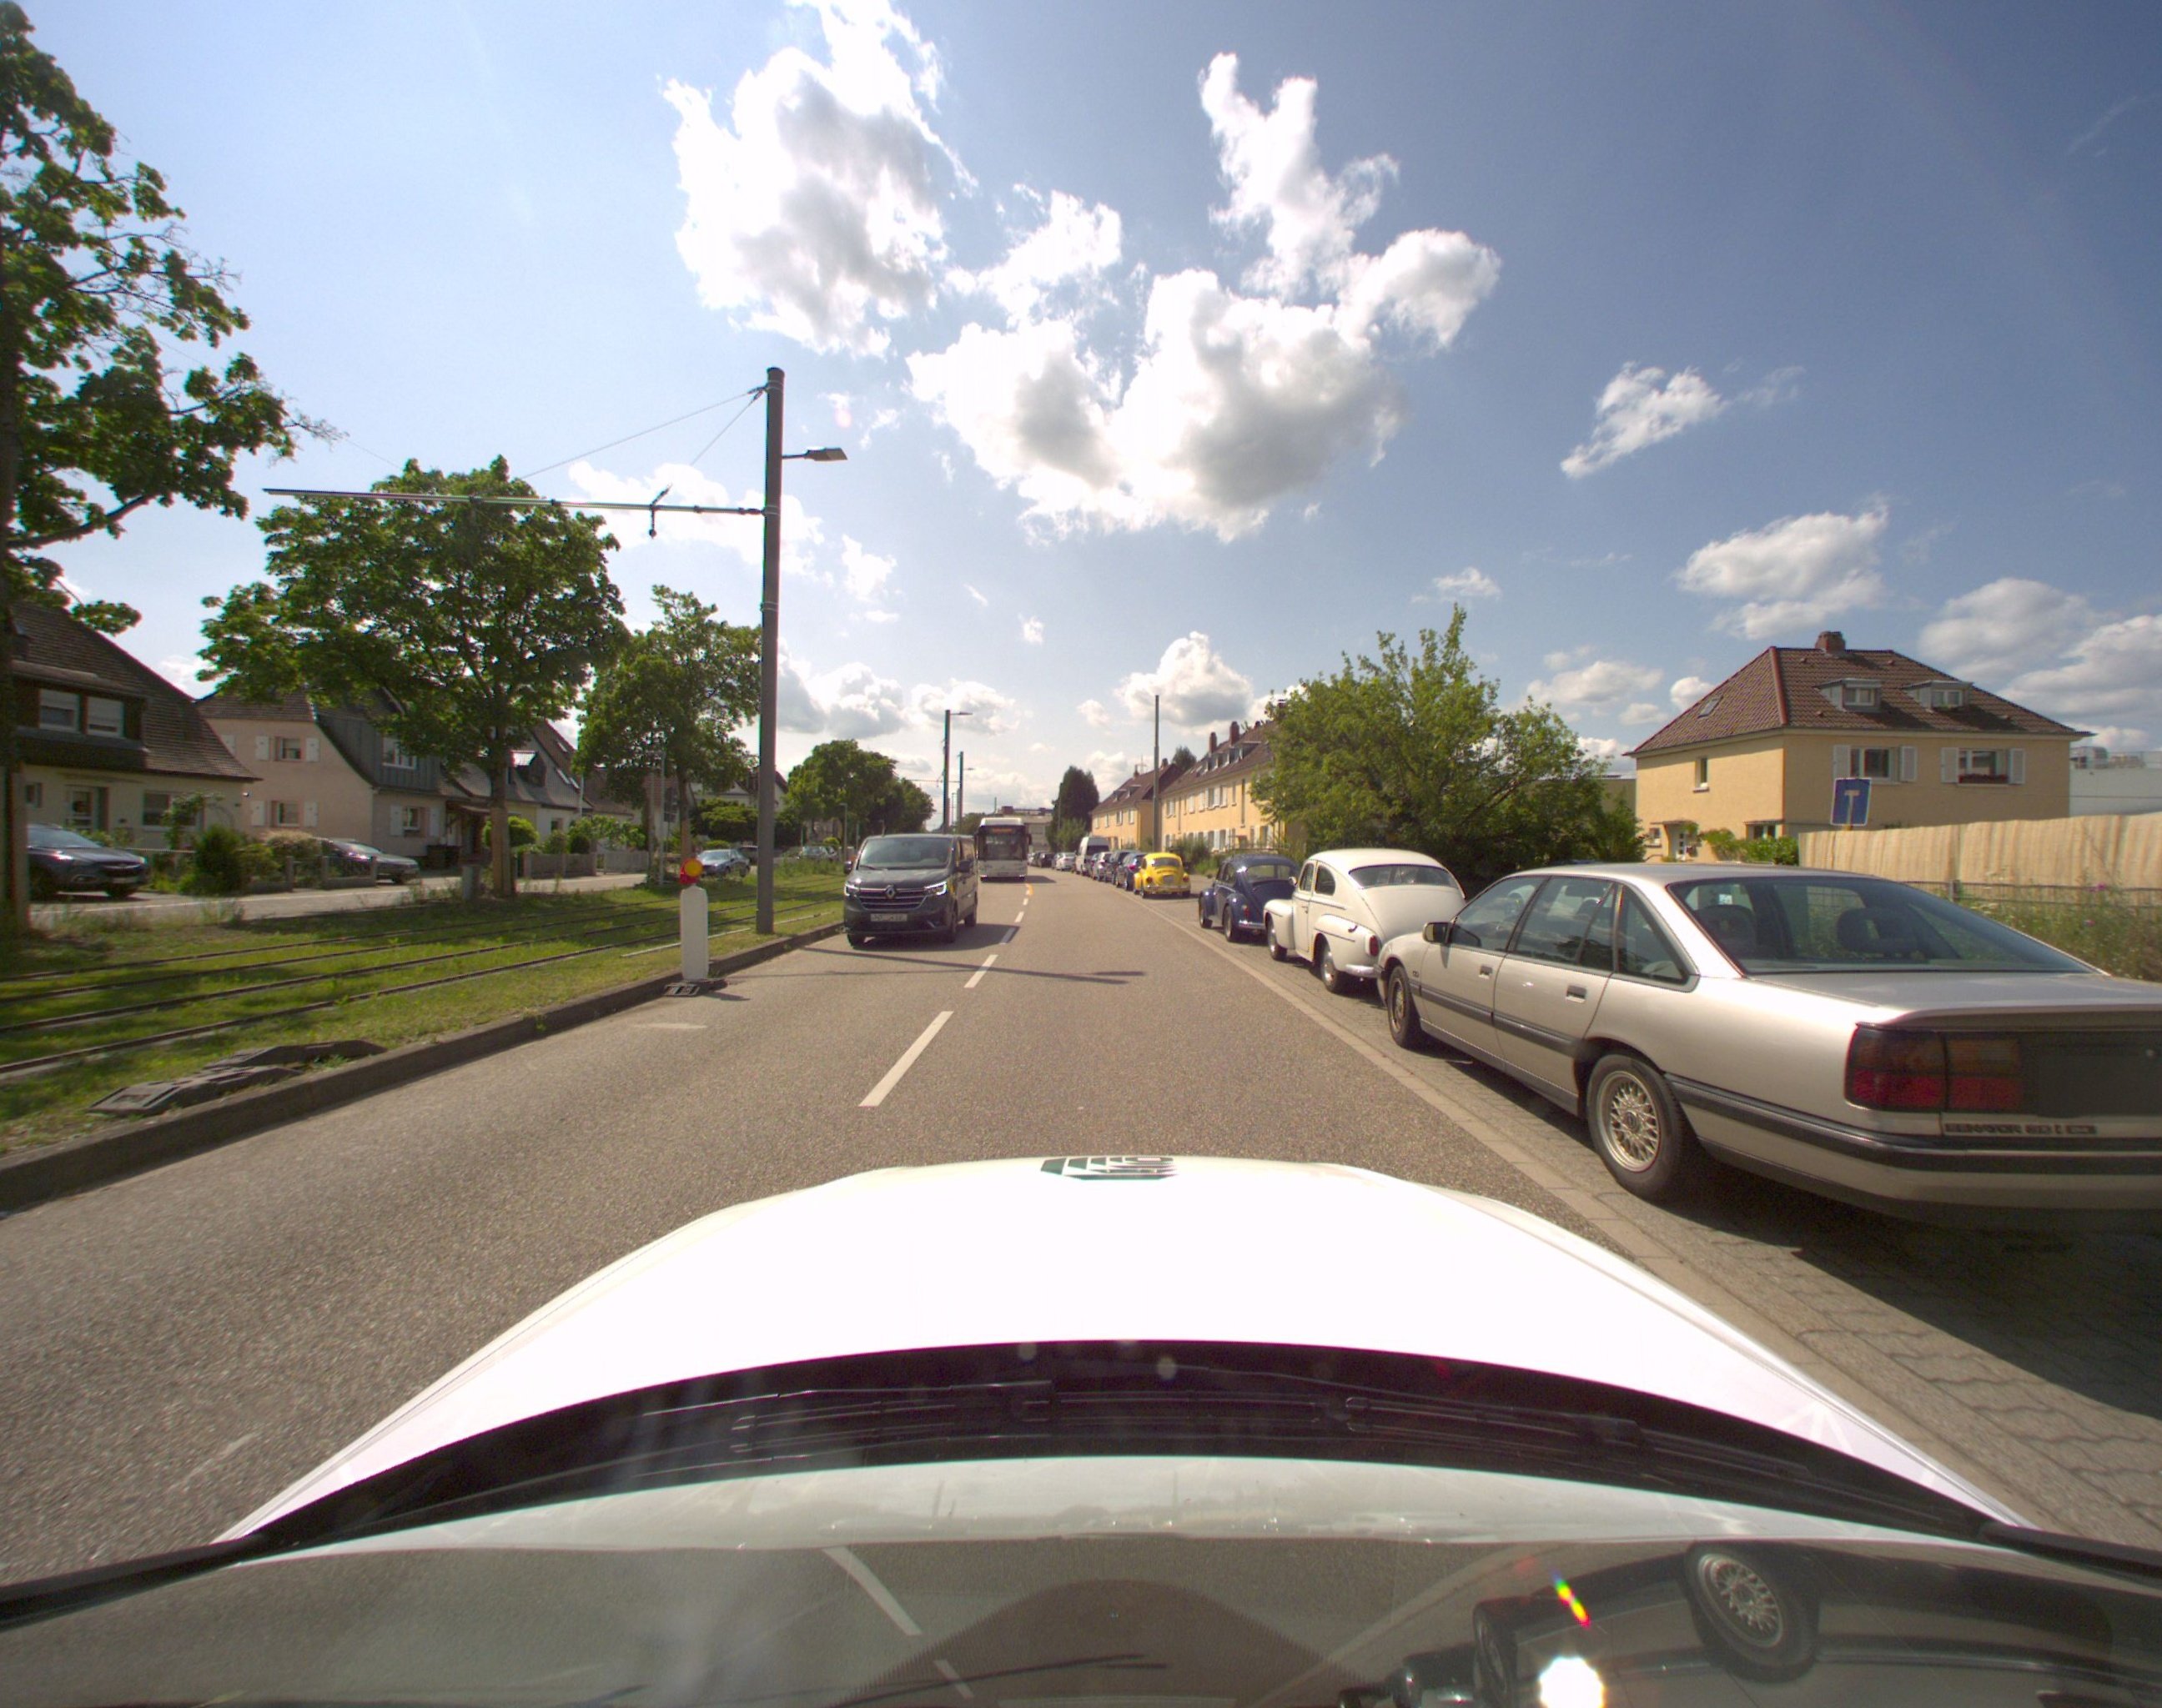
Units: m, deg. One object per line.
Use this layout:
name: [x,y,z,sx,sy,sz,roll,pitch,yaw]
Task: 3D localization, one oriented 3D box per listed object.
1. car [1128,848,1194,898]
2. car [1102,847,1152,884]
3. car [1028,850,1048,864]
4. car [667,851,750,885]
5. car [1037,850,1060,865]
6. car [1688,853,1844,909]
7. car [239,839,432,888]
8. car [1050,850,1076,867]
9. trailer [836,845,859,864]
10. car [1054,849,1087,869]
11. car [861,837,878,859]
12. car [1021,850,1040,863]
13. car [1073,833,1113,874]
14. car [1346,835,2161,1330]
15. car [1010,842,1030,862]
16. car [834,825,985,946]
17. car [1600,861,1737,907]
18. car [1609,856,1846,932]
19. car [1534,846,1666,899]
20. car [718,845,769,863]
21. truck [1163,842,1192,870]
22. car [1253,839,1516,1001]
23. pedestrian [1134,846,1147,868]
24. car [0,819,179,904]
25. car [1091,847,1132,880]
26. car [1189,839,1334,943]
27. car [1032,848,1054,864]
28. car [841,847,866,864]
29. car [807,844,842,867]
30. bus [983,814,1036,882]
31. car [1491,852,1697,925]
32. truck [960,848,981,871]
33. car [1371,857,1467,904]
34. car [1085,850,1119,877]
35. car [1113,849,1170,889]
car: [2.629,0.578,27.584,1.632,1.482,3.927,-2,1,-3]
car: [2.110,0.501,38.207,1.635,1.602,3.922,1,0,-7]
car: [-4.736,0.290,89.020,1.764,1.476,3.987,-1,0,-10]
car: [-16.686,0.587,36.765,1.816,1.406,4.805,1,0,-5]
car: [-3.198,0.338,79.097,1.764,1.417,3.987,-1,0,-10]
car: [22.262,0.893,26.698,1.631,1.665,4.085,1,-2,-1]
car: [-24.869,0.319,27.320,4.462,1.523,1.922,1,0,-5]
car: [-1.590,0.337,70.399,1.621,1.417,3.987,-1,0,-10]
trailer: [-20.750,0.043,72.385,1.565,1.678,3.361,1,0,-10]
car: [-0.880,0.406,64.947,1.799,1.458,4.748,-1,0,-10]
car: [-27.855,-0.800,107.358,2.076,2.721,6.970,-1,0,-14]
car: [-5.949,0.271,95.112,1.764,1.439,3.987,-1,0,-10]
car: [0.722,-0.062,52.302,1.927,2.481,5.505,0,0,-6]
car: [3.195,0.670,4.819,1.701,1.449,4.835,1,0,0]
car: [-7.952,-0.288,106.173,1.960,2.478,6.038,-1,0,-11]
car: [-3.090,0.499,15.865,1.950,1.966,5.289,0,0,-2]
car: [19.633,0.966,27.439,1.631,1.401,4.086,1,0,-1]
car: [13.412,0.761,17.255,1.633,1.374,4.082,1,0,-4]
car: [16.874,0.541,26.725,1.631,1.547,4.086,-2,0,-1]
car: [-30.629,0.026,74.006,3.990,1.571,1.787,0,0,-13]
truck: [5.951,0.141,50.437,1.344,1.688,2.436,0,0,-6]
car: [3.334,0.618,9.917,1.572,1.513,4.459,1,0,0]
pedestrian: [4.439,0.220,60.387,0.852,1.652,0.636,1,0,-5]
car: [-24.259,0.152,18.704,4.462,1.836,2.062,1,0,-5]
car: [1.533,0.461,42.249,1.633,1.602,4.022,1,0,-5]
car: [3.152,0.578,15.054,1.545,1.641,4.242,1,0,-3]
car: [-3.934,0.198,84.188,1.764,1.643,3.987,-1,0,-10]
car: [-21.607,0.149,77.382,1.728,1.505,4.554,-1,0,-9]
car: [-19.417,0.120,61.825,1.694,1.637,4.556,-1,0,-8]
bus: [-4.313,-0.352,47.276,2.633,3.412,12.220,-1,0,-6]
car: [10.715,0.649,17.399,1.633,1.374,4.082,1,0,-4]
truck: [-17.554,0.868,129.066,2.562,3.459,7.119,-1,0,-12]
car: [10.818,0.811,26.359,1.629,1.355,4.092,1,0,4]
car: [1.150,0.515,46.961,1.534,1.445,3.730,1,0,-5]
car: [2.362,0.563,32.802,1.633,1.482,4.117,1,0,-5]
